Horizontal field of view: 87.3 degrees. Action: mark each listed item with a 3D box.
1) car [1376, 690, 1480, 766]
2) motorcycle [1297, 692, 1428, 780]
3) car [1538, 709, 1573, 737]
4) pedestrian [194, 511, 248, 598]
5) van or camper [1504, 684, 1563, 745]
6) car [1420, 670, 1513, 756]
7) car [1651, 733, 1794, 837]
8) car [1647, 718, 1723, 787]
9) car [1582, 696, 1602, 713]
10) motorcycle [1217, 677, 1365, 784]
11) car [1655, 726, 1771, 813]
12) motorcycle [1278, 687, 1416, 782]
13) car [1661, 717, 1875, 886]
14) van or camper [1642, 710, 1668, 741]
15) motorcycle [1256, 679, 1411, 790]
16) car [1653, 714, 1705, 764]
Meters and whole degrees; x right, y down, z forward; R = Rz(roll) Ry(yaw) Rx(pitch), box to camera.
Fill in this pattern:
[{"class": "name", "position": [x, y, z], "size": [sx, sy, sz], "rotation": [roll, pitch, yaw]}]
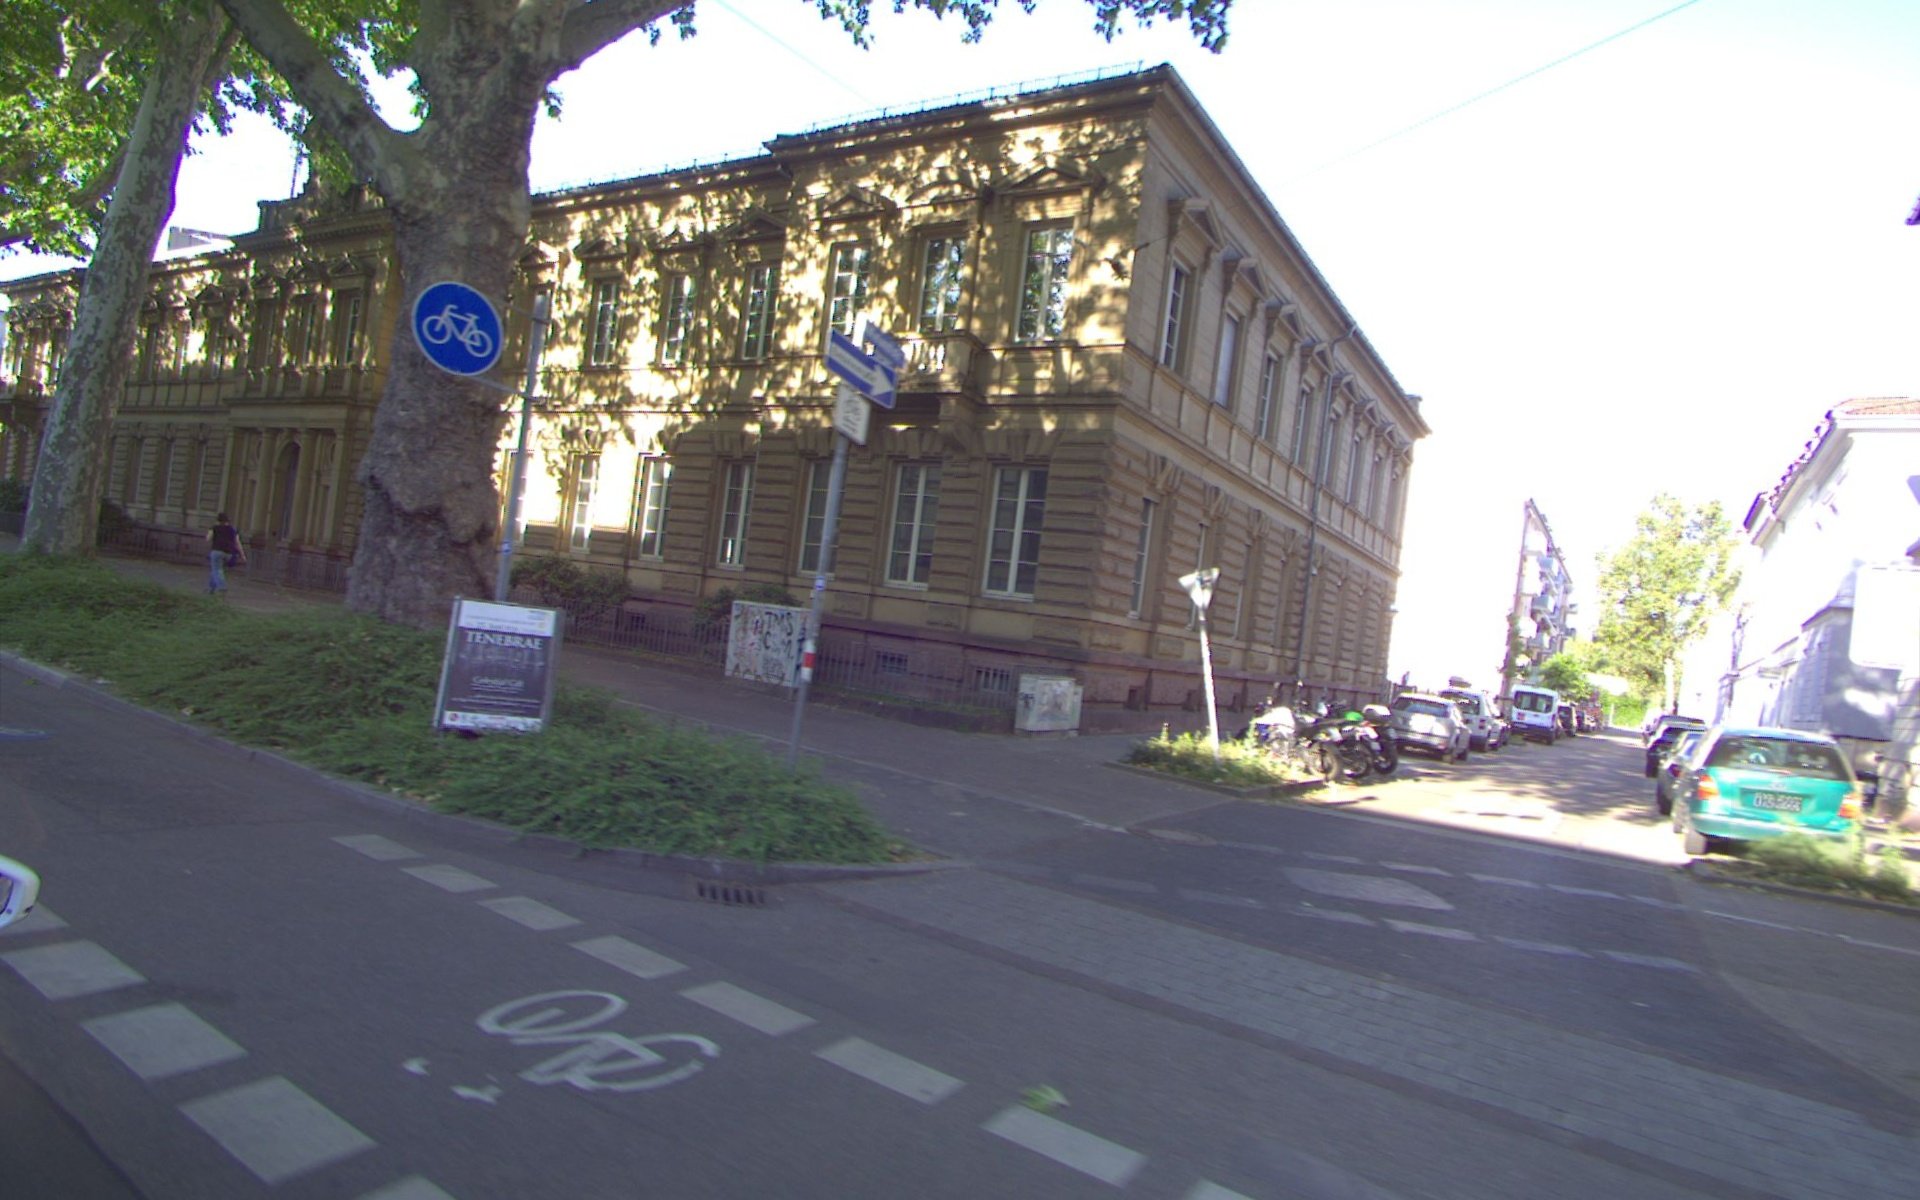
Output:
[{"class": "car", "position": [11.639, 3.166, 24.916], "size": [1.606, 1.568, 3.474], "rotation": [4, -3, 36]}, {"class": "motorcycle", "position": [7.427, 2.498, 18.670], "size": [0.493, 1.311, 2.159], "rotation": [9, -4, -40]}, {"class": "car", "position": [39.216, 8.112, 66.227], "size": [1.606, 1.568, 3.474], "rotation": [4, -3, 36]}, {"class": "pedestrian", "position": [-15.190, -0.934, 20.679], "size": [0.645, 1.651, 0.862], "rotation": [9, -2, -40]}, {"class": "van or camper", "position": [27.051, 5.415, 47.376], "size": [1.851, 2.547, 4.423], "rotation": [4, -3, 35]}, {"class": "car", "position": [16.377, 3.649, 32.408], "size": [1.927, 2.375, 4.364], "rotation": [4, -3, 35]}, {"class": "car", "position": [12.818, 3.039, 17.095], "size": [1.605, 1.340, 3.661], "rotation": [4, -3, 34]}, {"class": "car", "position": [21.004, 4.371, 29.155], "size": [1.606, 1.668, 3.699], "rotation": [4, -3, 37]}, {"class": "car", "position": [68.041, 11.269, 108.296], "size": [1.606, 1.568, 3.474], "rotation": [4, -3, 36]}, {"class": "motorcycle", "position": [5.252, 2.058, 16.126], "size": [0.493, 1.311, 2.158], "rotation": [9, -1, -40]}, {"class": "car", "position": [15.702, 3.468, 21.141], "size": [1.631, 1.429, 4.079], "rotation": [4, -3, 34]}, {"class": "motorcycle", "position": [6.782, 2.338, 17.749], "size": [0.493, 1.311, 2.158], "rotation": [9, -2, -40]}, {"class": "car", "position": [9.958, 2.375, 12.643], "size": [1.604, 1.607, 3.477], "rotation": [3, -3, 32]}, {"class": "van or camper", "position": [58.799, 10.609, 85.076], "size": [1.606, 2.301, 4.779], "rotation": [4, -3, 36]}, {"class": "motorcycle", "position": [6.220, 2.228, 16.883], "size": [0.567, 1.448, 2.258], "rotation": [9, -1, -44]}, {"class": "car", "position": [30.629, 5.911, 42.839], "size": [1.606, 1.844, 3.699], "rotation": [4, -3, 37]}]
